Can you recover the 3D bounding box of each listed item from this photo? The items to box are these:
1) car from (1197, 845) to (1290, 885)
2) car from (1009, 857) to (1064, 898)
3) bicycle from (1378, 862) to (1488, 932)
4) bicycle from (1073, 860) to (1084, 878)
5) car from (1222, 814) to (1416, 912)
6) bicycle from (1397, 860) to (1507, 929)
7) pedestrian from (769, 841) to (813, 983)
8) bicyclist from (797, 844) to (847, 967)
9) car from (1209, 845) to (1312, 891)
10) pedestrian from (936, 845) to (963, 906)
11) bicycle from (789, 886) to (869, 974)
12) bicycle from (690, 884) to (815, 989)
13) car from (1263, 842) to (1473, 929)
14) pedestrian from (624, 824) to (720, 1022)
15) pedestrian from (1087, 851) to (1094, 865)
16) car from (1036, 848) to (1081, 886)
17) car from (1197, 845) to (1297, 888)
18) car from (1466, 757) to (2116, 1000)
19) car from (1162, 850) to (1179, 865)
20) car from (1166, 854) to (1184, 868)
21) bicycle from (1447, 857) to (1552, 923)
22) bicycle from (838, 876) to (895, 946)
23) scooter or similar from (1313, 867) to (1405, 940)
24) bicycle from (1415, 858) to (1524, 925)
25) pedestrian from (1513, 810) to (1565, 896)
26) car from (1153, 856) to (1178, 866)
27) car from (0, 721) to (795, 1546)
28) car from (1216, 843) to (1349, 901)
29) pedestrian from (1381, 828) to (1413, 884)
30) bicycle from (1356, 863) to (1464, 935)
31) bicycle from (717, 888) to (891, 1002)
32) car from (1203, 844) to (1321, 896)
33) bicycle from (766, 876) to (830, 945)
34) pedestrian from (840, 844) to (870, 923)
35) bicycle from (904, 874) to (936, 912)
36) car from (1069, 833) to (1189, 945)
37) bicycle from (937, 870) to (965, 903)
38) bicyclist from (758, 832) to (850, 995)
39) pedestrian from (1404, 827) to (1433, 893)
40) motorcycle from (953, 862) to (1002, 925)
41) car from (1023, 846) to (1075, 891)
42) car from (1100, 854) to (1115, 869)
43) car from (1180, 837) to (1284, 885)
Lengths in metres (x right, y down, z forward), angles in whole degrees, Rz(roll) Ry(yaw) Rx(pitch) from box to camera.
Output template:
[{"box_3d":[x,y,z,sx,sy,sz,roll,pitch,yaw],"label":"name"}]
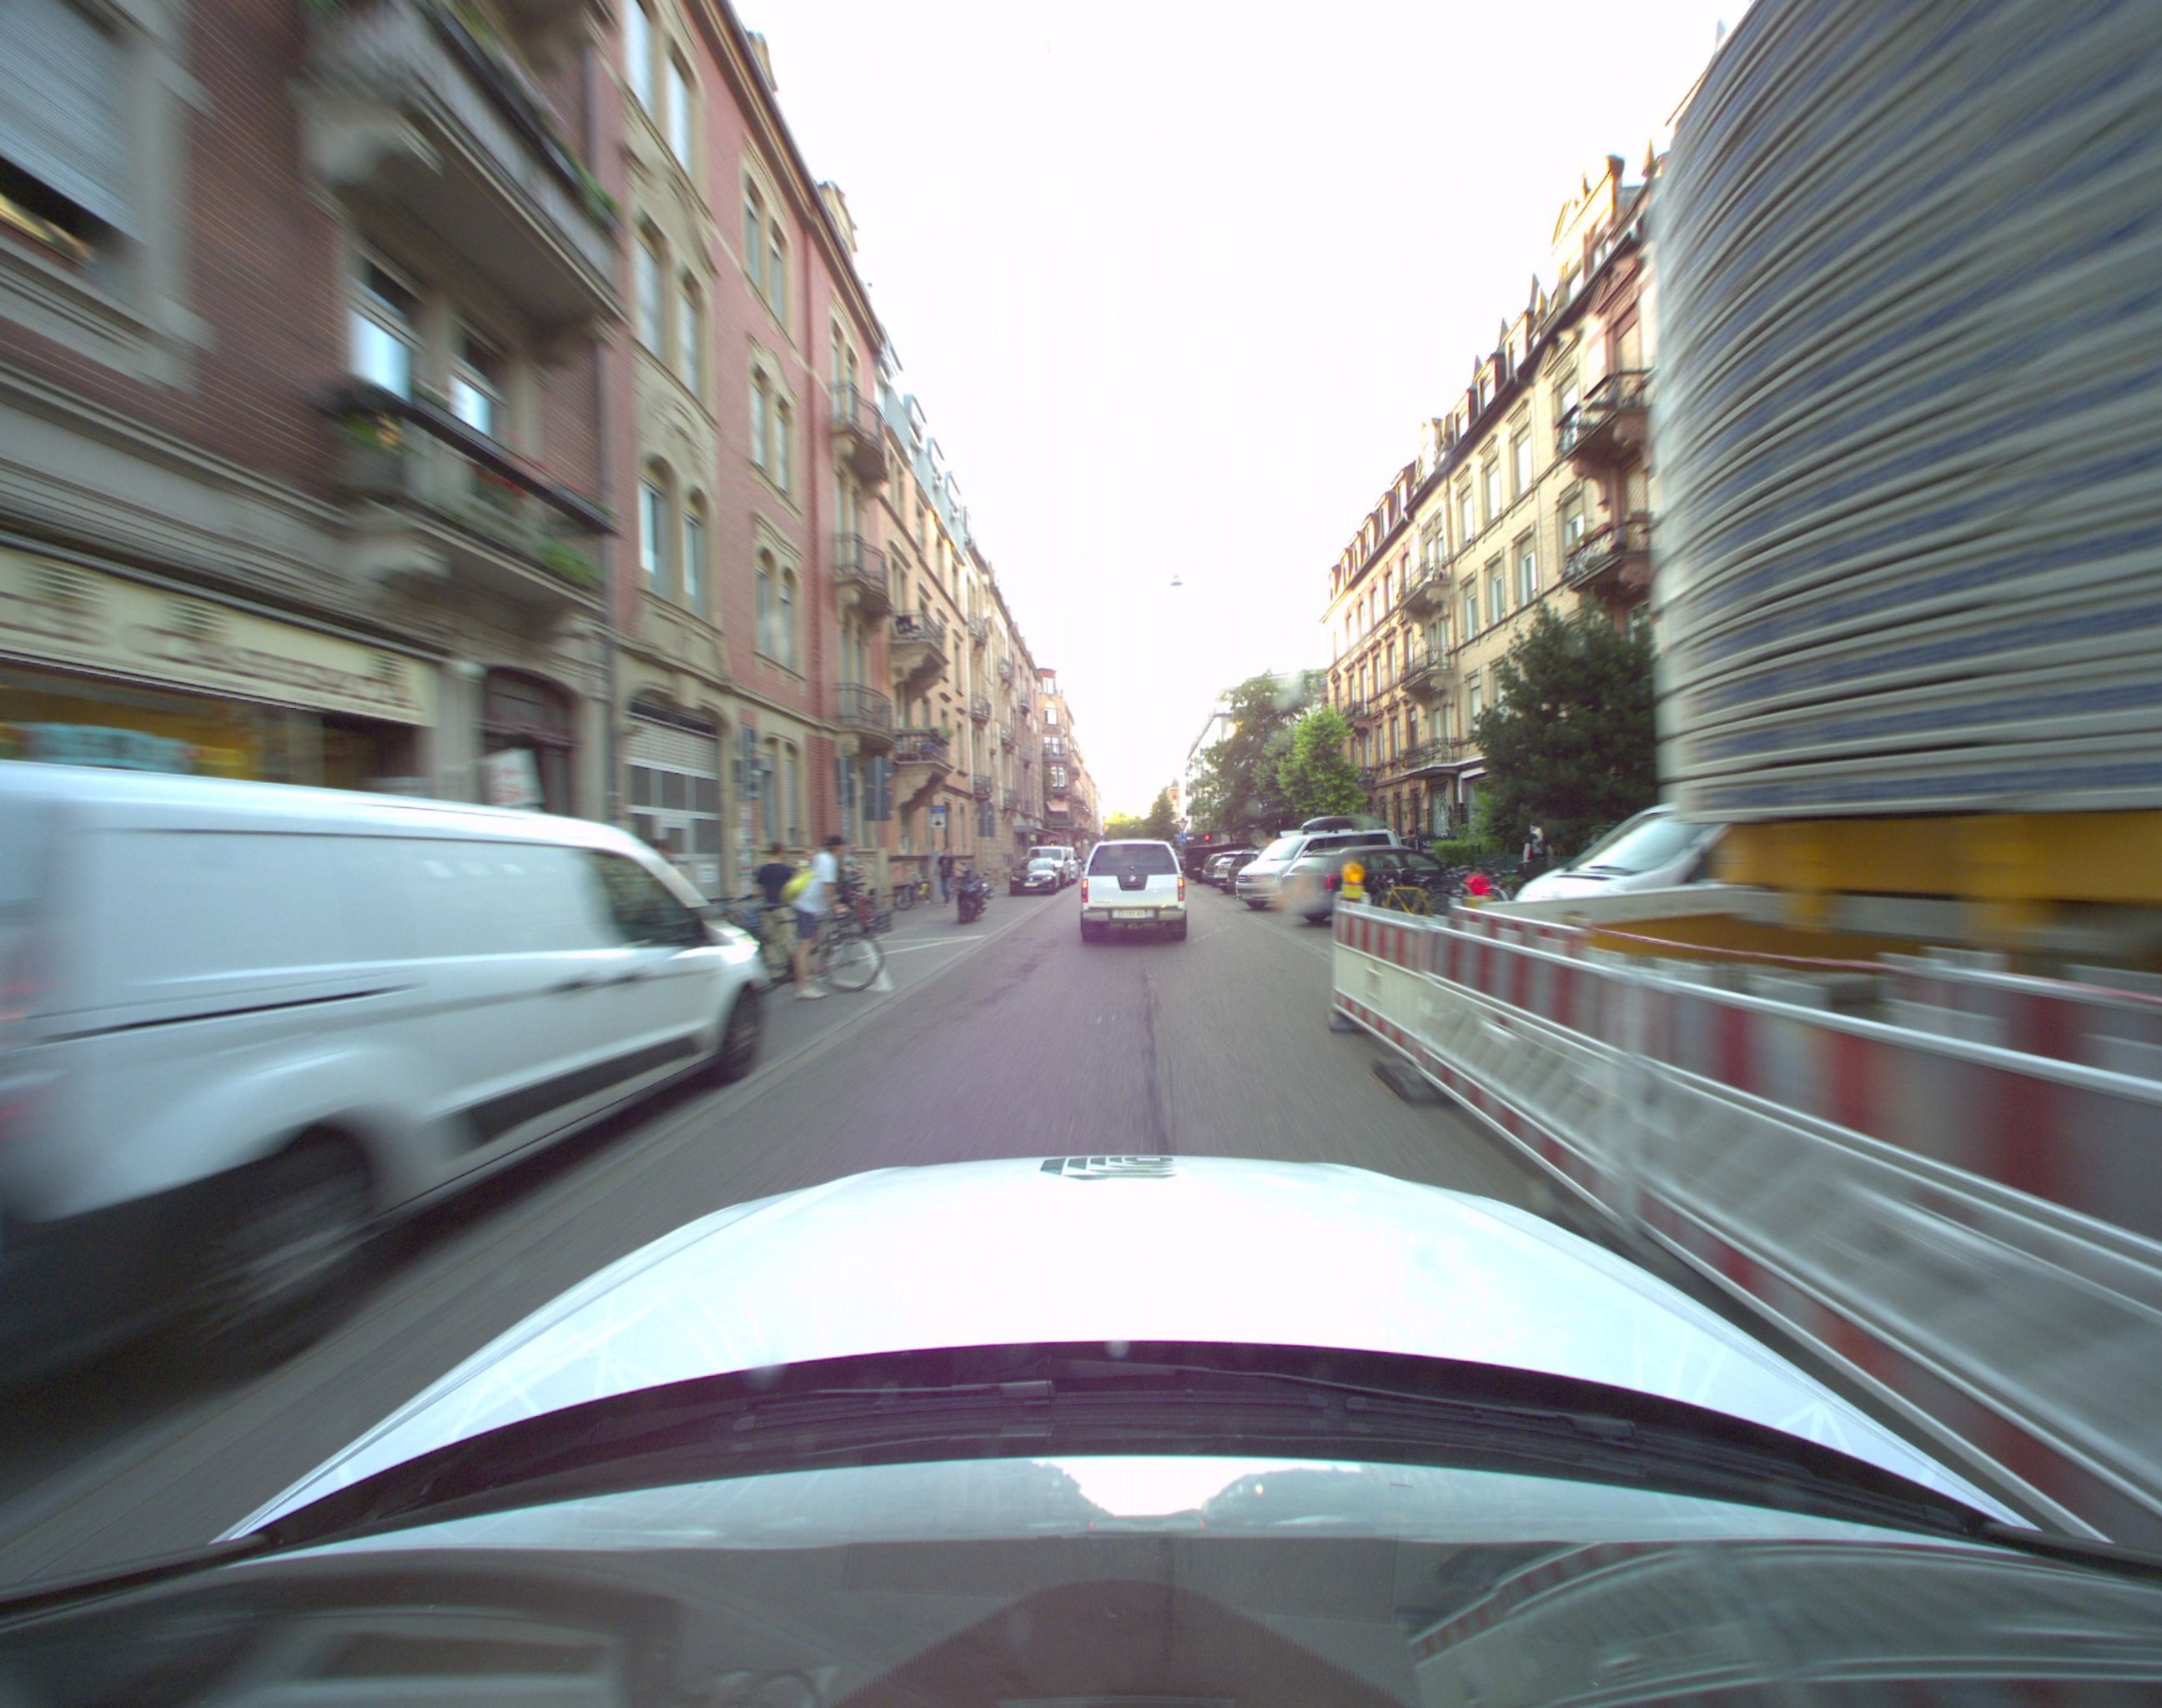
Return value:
[{"box_3d":[7.814,0.532,39.168,4.120,1.551,1.802,-5,0,-28],"label":"car"},{"box_3d":[-1.715,0.901,32.639,1.830,1.471,4.174,-2,0,1],"label":"car"},{"box_3d":[6.214,0.742,14.479,0.498,1.136,1.796,-4,1,-31],"label":"bicycle"},{"box_3d":[-0.167,1.011,54.521,0.469,1.142,1.788,-1,-1,7],"label":"bicycle"},{"box_3d":[6.566,0.200,22.464,4.944,2.362,1.985,-2,0,-23],"label":"car"},{"box_3d":[6.698,0.711,14.798,0.498,1.136,1.796,-4,1,-31],"label":"bicycle"},{"box_3d":[-3.570,0.701,10.043,0.417,1.709,0.350,0,-1,-2],"label":"pedestrian"},{"box_3d":[-3.433,0.669,10.800,0.463,1.590,0.488,-1,-1,6],"label":"bicyclist"},{"box_3d":[7.542,0.582,34.107,4.127,1.590,1.799,-5,0,-35],"label":"car"},{"box_3d":[-4.016,0.657,24.986,0.680,1.810,0.960,0,-1,-2],"label":"pedestrian"},{"box_3d":[-3.393,0.994,11.083,0.463,1.068,1.523,-1,-1,7],"label":"bicycle"},{"box_3d":[-4.098,0.984,10.339,0.463,1.155,2.006,-1,-1,10],"label":"bicycle"},{"box_3d":[5.956,0.593,16.925,3.871,1.516,1.834,-3,0,-23],"label":"car"},{"box_3d":[-3.912,0.634,7.839,0.597,1.814,0.719,0,-1,-5],"label":"pedestrian"},{"box_3d":[1.087,0.484,94.281,0.795,1.621,0.945,0,-1,1],"label":"pedestrian"},{"box_3d":[-1.140,0.677,44.582,2.101,1.921,5.028,-2,0,2],"label":"car"},{"box_3d":[7.446,0.550,36.501,4.120,1.551,1.802,-5,0,-28],"label":"car"},{"box_3d":[7.193,0.235,8.722,5.153,1.955,1.900,-4,1,2],"label":"car"},{"box_3d":[11.416,0.481,104.216,1.935,1.934,4.002,-1,-1,3],"label":"car"},{"box_3d":[11.014,0.827,95.432,1.827,1.542,4.002,-1,-1,3],"label":"car"},{"box_3d":[7.811,0.651,15.292,0.497,1.136,1.800,-4,1,-24],"label":"bicycle"},{"box_3d":[-3.832,0.991,14.684,0.410,1.160,1.840,-1,-1,4],"label":"bicycle"},{"box_3d":[4.778,0.824,14.095,0.657,1.150,1.474,-4,0,-20],"label":"scooter or similar"},{"box_3d":[7.160,0.678,15.092,0.498,1.136,1.796,-4,1,-31],"label":"bicycle"},{"box_3d":[9.787,-0.023,17.434,0.679,1.750,0.830,-5,-1,17],"label":"pedestrian"},{"box_3d":[14.024,1.185,135.479,3.971,1.750,1.841,-1,-1,2],"label":"car"},{"box_3d":[-3.166,0.645,3.998,1.764,1.789,4.589,-1,-1,2],"label":"car"},{"box_3d":[6.929,0.584,27.994,4.177,1.590,1.869,-5,1,-28],"label":"car"},{"box_3d":[9.695,0.063,25.011,0.624,1.681,0.653,0,-1,-13],"label":"pedestrian"},{"box_3d":[5.674,0.753,14.146,0.498,1.136,1.798,-4,1,-28],"label":"bicycle"},{"box_3d":[-3.053,0.975,9.082,1.782,1.155,0.517,0,-1,-19],"label":"bicycle"},{"box_3d":[6.875,0.589,30.922,4.119,1.590,1.802,-5,0,-28],"label":"car"},{"box_3d":[-5.187,1.007,15.029,0.410,1.160,1.840,-1,-1,4],"label":"bicycle"},{"box_3d":[-5.212,0.674,18.808,0.461,1.789,0.643,-1,-1,7],"label":"pedestrian"},{"box_3d":[-4.659,1.106,23.587,0.445,1.030,1.742,-1,-1,4],"label":"bicycle"},{"box_3d":[1.103,0.598,15.716,1.927,1.810,5.011,-1,-1,7],"label":"car"},{"box_3d":[-4.507,1.105,28.358,0.748,1.101,2.023,0,-1,-3],"label":"bicycle"},{"box_3d":[-2.985,0.625,8.808,0.782,1.704,0.530,-1,-1,10],"label":"bicyclist"},{"box_3d":[10.496,0.179,25.332,0.621,2.014,0.656,-1,-1,2],"label":"pedestrian"},{"box_3d":[-2.393,0.885,19.042,0.681,1.405,2.017,-1,-1,6],"label":"motorcycle"},{"box_3d":[-1.441,0.645,38.444,1.828,1.921,4.851,-2,0,4],"label":"car"},{"box_3d":[3.353,0.961,102.109,1.827,1.750,4.002,-1,-1,3],"label":"car"},{"box_3d":[7.930,0.357,42.509,5.461,2.072,1.912,-5,0,-35],"label":"car"}]
